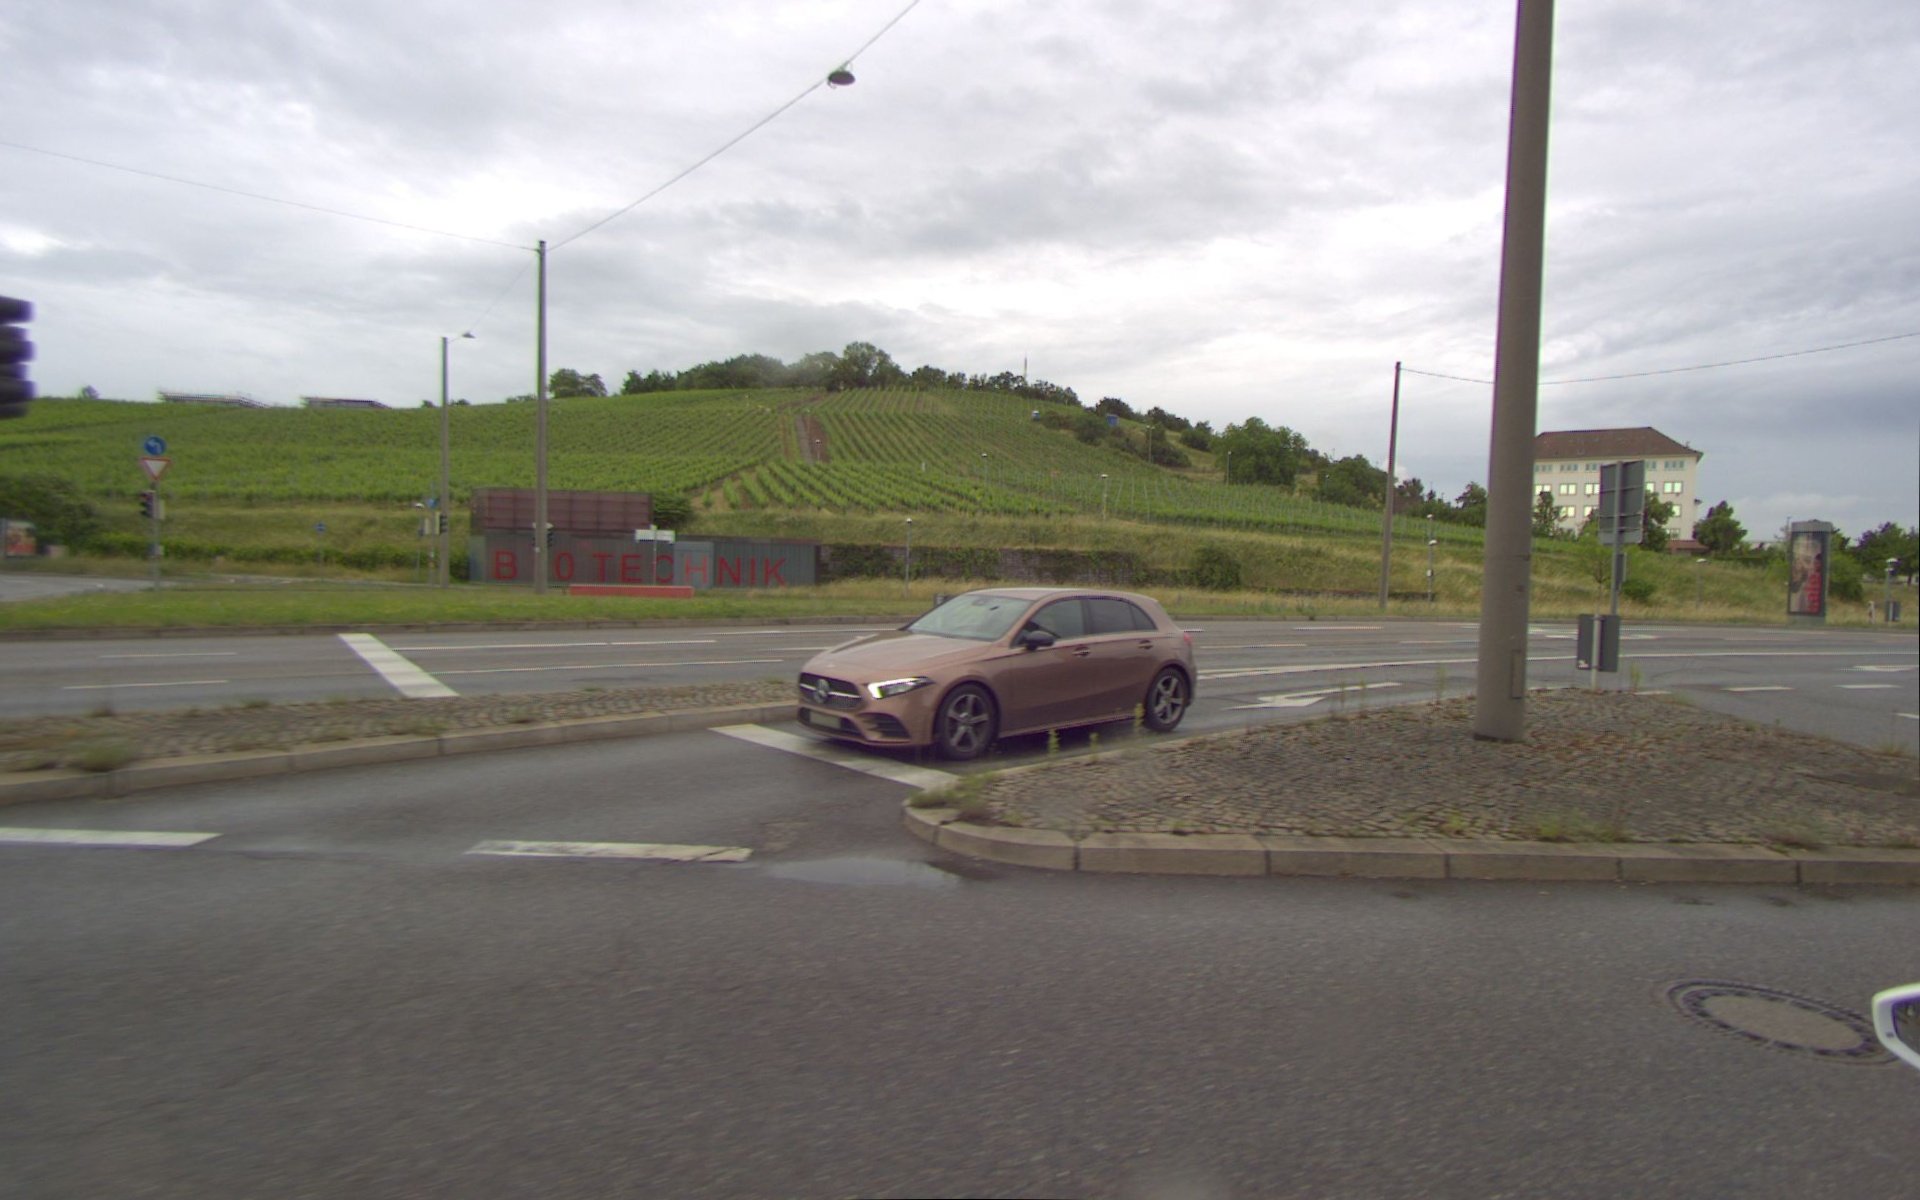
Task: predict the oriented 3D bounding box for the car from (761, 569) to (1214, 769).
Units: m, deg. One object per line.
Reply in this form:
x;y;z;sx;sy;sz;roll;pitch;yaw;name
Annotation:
0.426;0.500;9.669;4.306;1.481;1.718;0;3;-41;car
